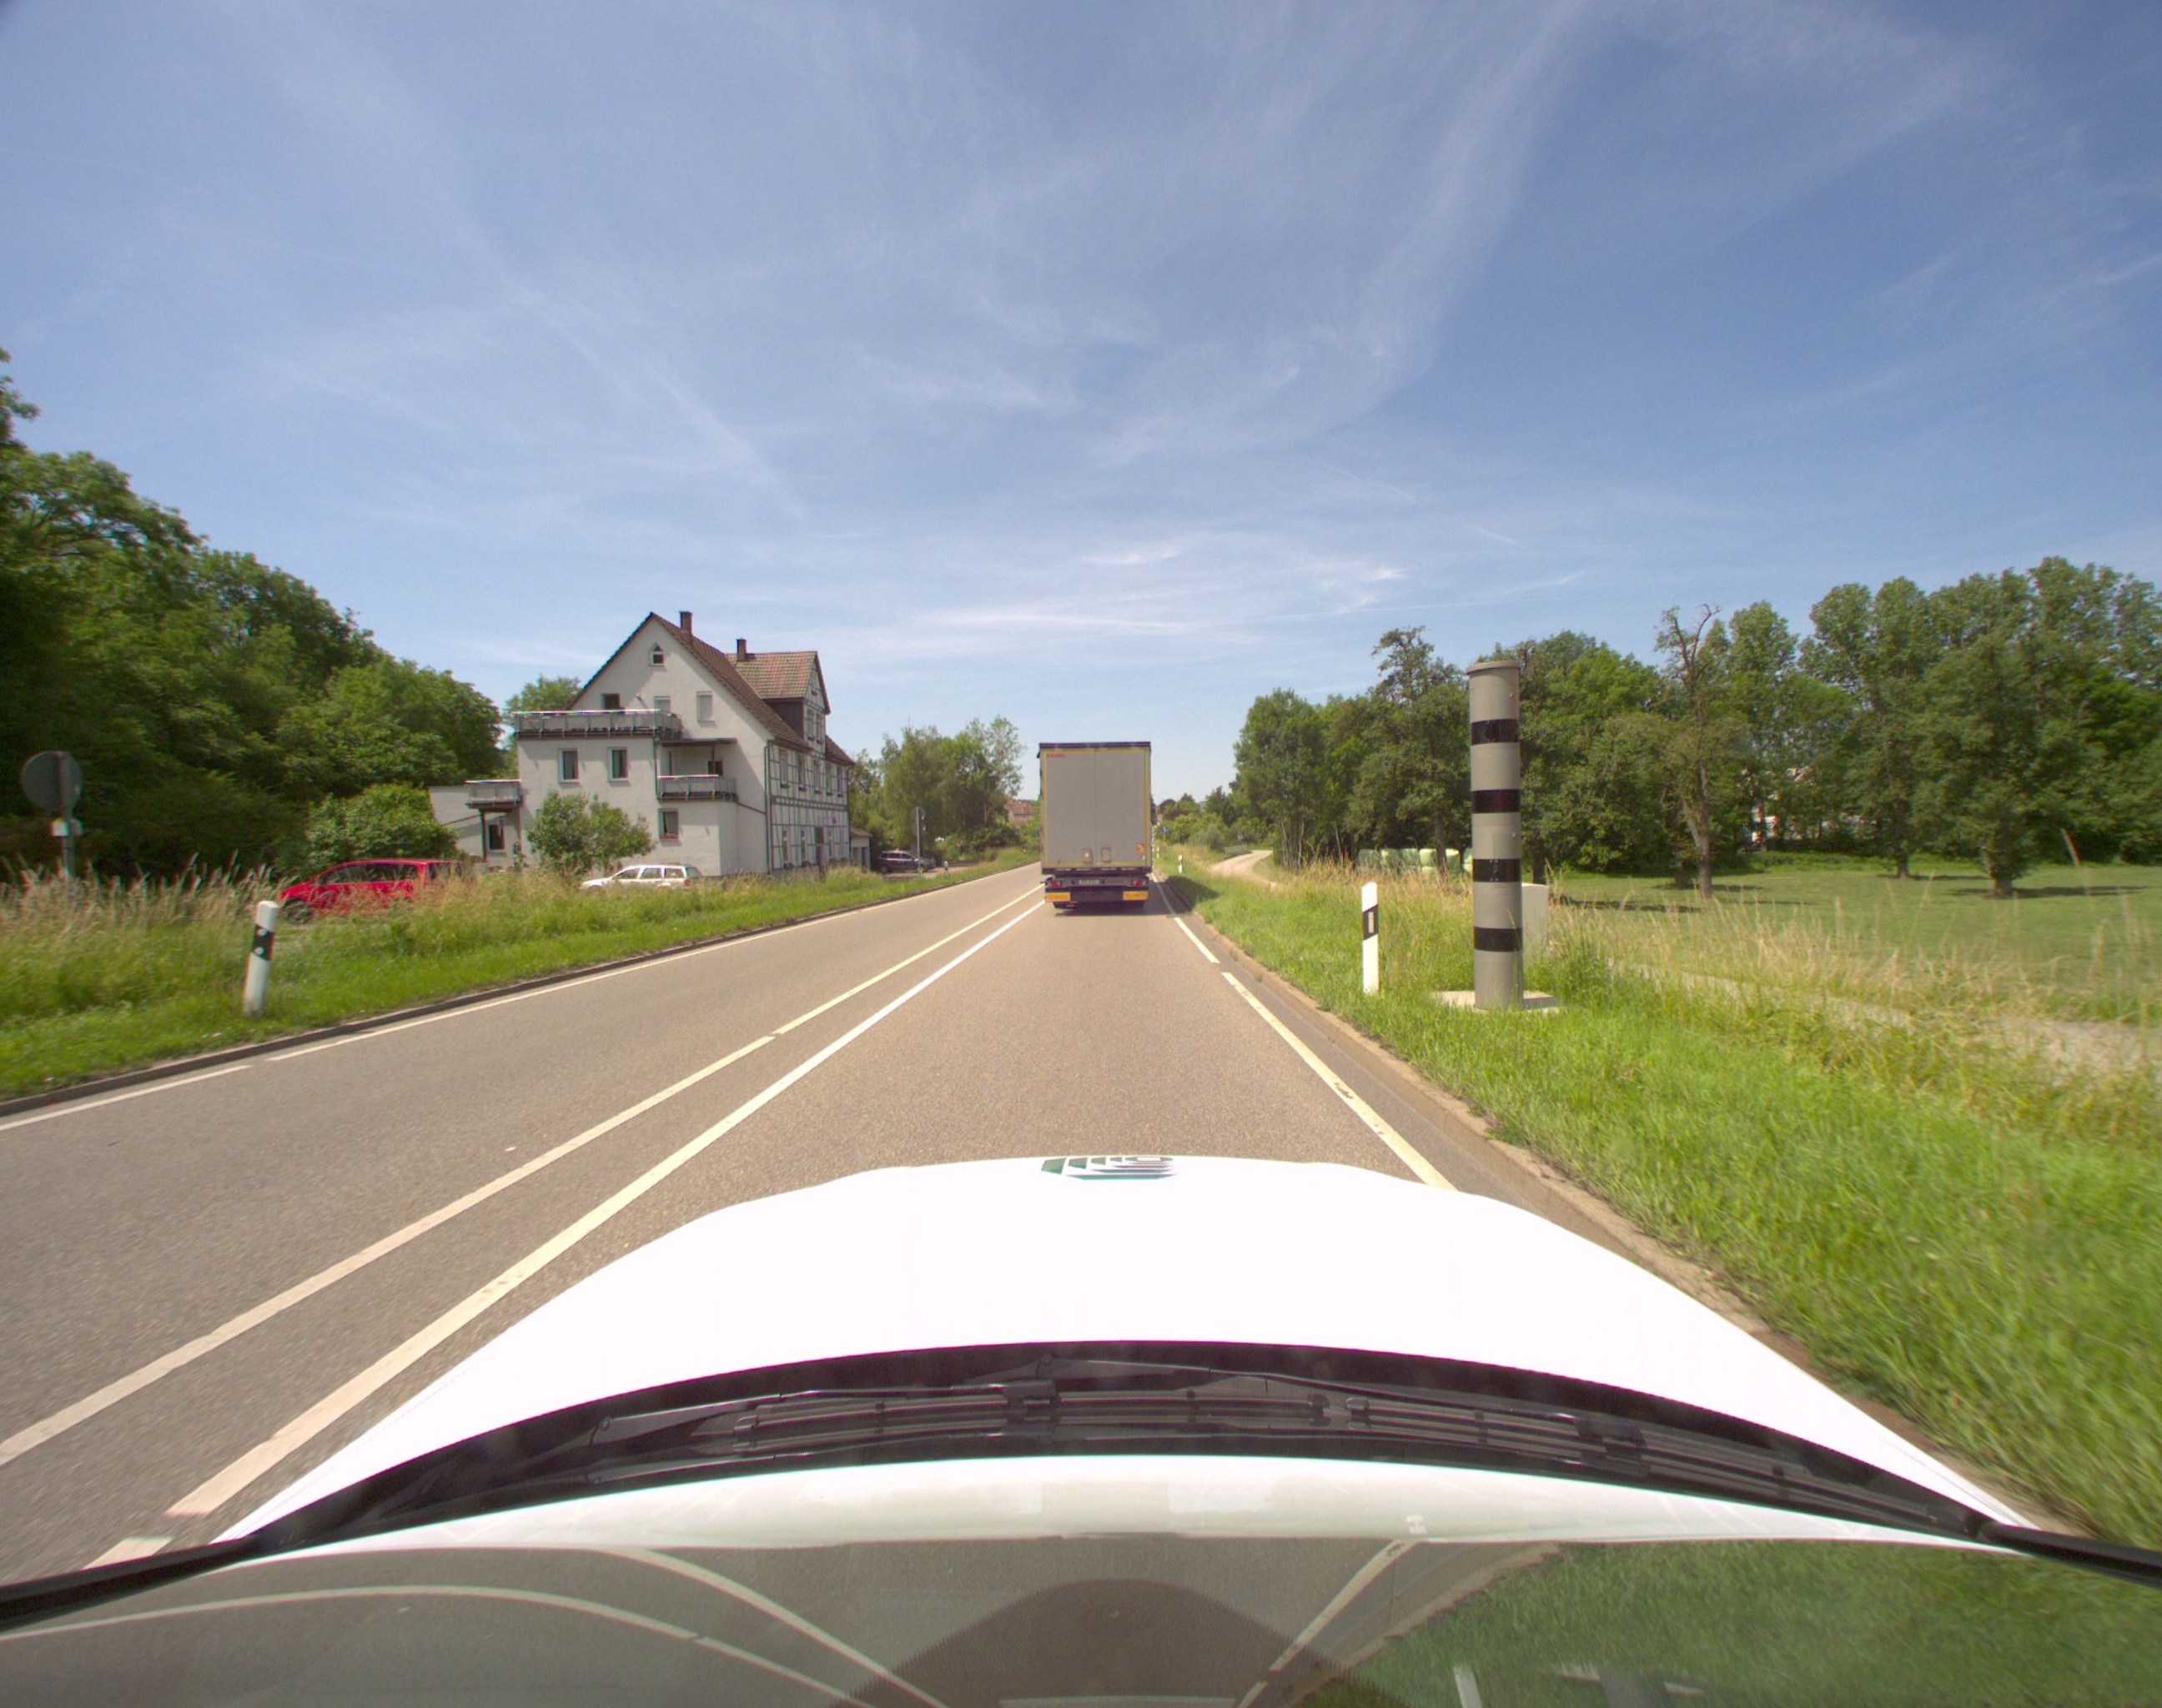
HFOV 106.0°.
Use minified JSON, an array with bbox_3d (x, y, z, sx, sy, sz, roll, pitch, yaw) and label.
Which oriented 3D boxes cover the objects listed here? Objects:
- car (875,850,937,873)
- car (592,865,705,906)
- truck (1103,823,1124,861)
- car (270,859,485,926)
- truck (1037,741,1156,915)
[{"bbox_3d":[-14.136,0.569,65.970,4.649,1.720,1.861,0,3,-1],"label":"car"},{"bbox_3d":[-16.255,1.159,30.700,3.369,1.465,1.609,0,0,-3],"label":"car"},{"bbox_3d":[4.173,-1.460,105.241,2.636,4.601,10.822,0,0,2],"label":"truck"},{"bbox_3d":[-17.928,0.953,20.863,4.009,1.618,1.835,0,0,4],"label":"car"},{"bbox_3d":[0.548,-0.637,22.866,2.637,3.916,8.831,-1,1,2],"label":"truck"}]
